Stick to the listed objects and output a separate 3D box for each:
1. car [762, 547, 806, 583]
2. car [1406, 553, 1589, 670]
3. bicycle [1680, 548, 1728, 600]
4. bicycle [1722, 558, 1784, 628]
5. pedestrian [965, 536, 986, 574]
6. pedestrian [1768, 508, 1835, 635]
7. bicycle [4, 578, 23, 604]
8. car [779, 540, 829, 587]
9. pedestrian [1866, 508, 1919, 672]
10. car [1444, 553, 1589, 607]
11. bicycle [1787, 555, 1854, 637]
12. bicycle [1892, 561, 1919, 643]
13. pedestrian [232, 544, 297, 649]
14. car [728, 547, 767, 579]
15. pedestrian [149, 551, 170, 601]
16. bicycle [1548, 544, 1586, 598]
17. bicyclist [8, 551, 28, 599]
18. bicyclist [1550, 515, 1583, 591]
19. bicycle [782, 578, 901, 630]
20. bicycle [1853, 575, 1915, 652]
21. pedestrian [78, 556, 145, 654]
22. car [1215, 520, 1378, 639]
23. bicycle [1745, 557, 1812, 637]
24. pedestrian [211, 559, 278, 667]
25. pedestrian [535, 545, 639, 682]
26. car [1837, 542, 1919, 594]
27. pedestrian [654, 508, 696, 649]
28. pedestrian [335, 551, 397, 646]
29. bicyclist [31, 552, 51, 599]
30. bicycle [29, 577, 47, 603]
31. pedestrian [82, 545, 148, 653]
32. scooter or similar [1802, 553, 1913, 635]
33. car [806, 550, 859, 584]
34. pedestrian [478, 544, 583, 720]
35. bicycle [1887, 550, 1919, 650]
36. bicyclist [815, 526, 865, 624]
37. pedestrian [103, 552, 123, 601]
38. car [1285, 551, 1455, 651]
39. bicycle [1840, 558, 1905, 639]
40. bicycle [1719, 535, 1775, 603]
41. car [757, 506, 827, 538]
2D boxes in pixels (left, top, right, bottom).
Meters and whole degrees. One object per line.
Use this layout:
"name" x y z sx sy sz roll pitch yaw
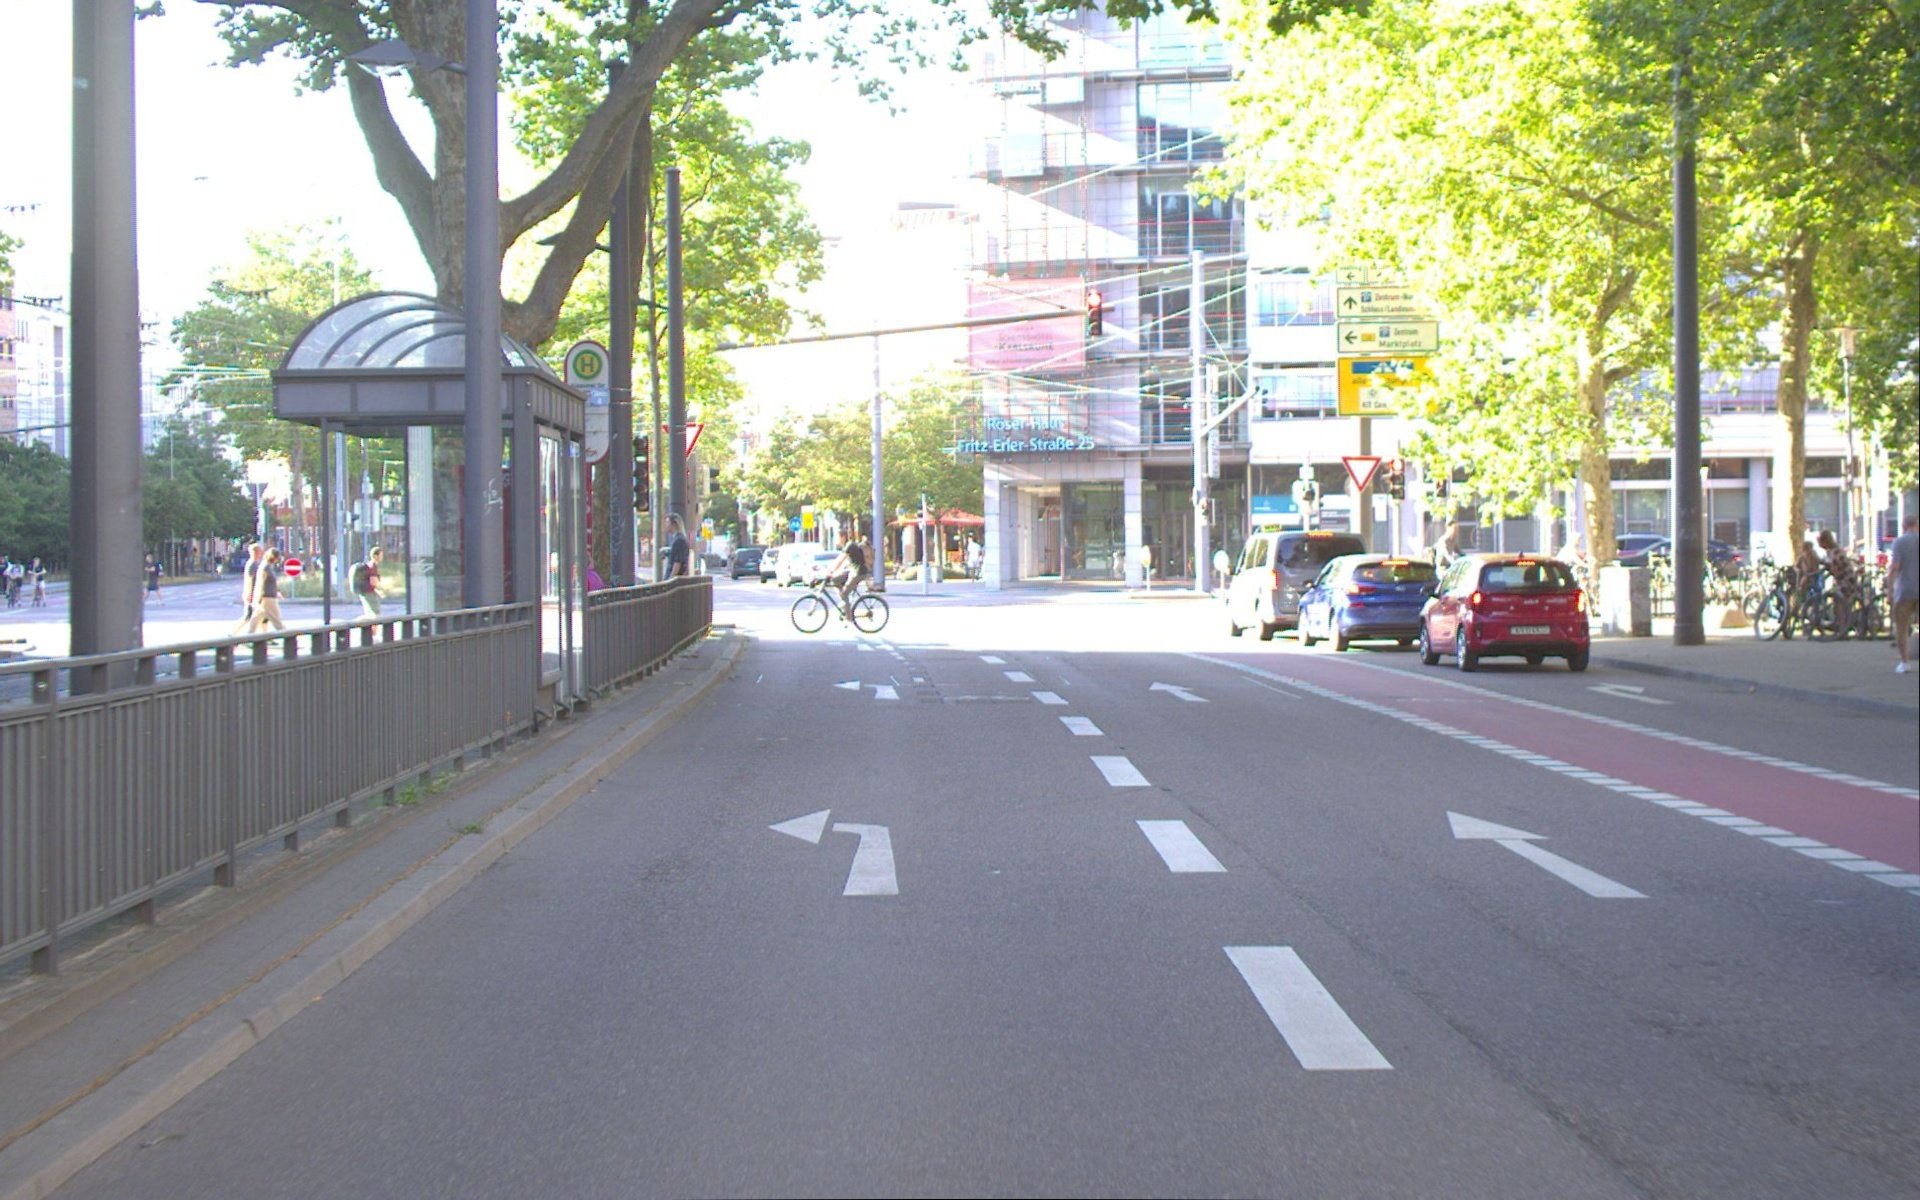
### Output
"car" -8.338 -1.651 162.719 1.993 1.656 4.001 -1 1 -4
"car" 6.945 0.122 44.704 1.558 1.459 3.622 0 1 -4
"bicycle" 14.189 -0.504 65.566 0.450 0.979 1.477 -1 1 -5
"bicycle" 12.220 -0.116 52.992 0.627 1.053 1.572 -1 1 2
"pedestrian" 0.613 -1.737 133.837 0.739 1.460 0.537 -1 1 -5
"pedestrian" 11.999 -0.409 49.005 0.807 1.780 0.657 -1 1 23
"bicycle" -33.440 -0.321 121.418 0.512 0.878 1.840 -1 1 -12
"car" -6.698 -1.571 147.269 1.993 1.985 4.001 -1 1 -4
"pedestrian" 10.560 -0.123 37.907 0.872 1.780 0.809 -1 1 -3
"car" 17.185 -0.629 106.355 4.241 1.596 1.795 -1 1 4
"bicycle" 12.201 -0.070 48.718 0.596 1.112 1.947 -1 1 24
"bicycle" 13.531 0.021 48.235 0.607 1.112 1.824 -1 1 24
"pedestrian" -12.054 -0.058 59.603 1.071 1.800 0.758 0 0 -11
"car" -11.390 -1.985 184.204 1.993 1.656 4.001 -1 1 -4
"pedestrian" -26.957 -0.811 115.776 0.536 1.644 0.626 -1 1 -23
"bicycle" 12.909 -0.624 73.133 0.566 1.122 1.778 -1 1 3
"bicyclist" -33.296 -0.880 121.530 0.593 1.670 0.790 -1 1 -10
"bicyclist" 12.903 -1.004 73.165 0.562 1.611 0.821 -1 1 3
"bicycle" -2.191 0.078 63.387 2.177 0.930 0.668 -1 1 -3
"bicycle" 14.334 0.202 53.345 0.420 1.155 1.477 -1 1 -5
"pedestrian" -14.587 0.083 59.147 1.072 1.676 0.758 0 0 -11
"car" 5.808 -0.377 59.979 1.993 1.959 5.138 1 1 -4
"bicycle" 11.778 -0.050 49.431 0.596 1.112 1.824 -1 1 24
"pedestrian" -12.602 0.231 60.580 1.145 1.887 0.833 0 0 -11
"pedestrian" -3.877 0.141 35.772 0.977 1.395 0.664 1 0 1
"car" 29.293 -0.994 105.591 4.241 1.555 1.795 -1 1 2
"pedestrian" -3.870 -0.291 46.711 0.509 1.894 0.760 1 0 -3
"pedestrian" -10.801 -0.028 62.503 1.073 1.709 0.628 0 0 -7
"bicyclist" -32.554 -0.869 121.832 0.593 1.670 0.790 -1 1 -10
"bicycle" -32.649 -0.358 121.773 0.512 0.878 1.840 -1 1 -12
"pedestrian" -14.721 -0.015 59.886 1.073 1.865 0.739 0 0 -11
"scooter or similar" 13.176 -0.085 50.504 1.252 1.138 0.916 2 -2 -17
"car" -5.216 -1.346 140.649 1.993 1.327 4.001 -1 1 -4
"pedestrian" -3.453 0.253 27.667 0.734 1.383 0.640 1 0 1
"bicycle" 12.465 -0.009 43.940 0.595 1.260 1.877 -1 1 -4
"bicyclist" -2.214 -0.458 63.369 0.849 1.779 0.753 -1 1 -4
"pedestrian" -28.421 -0.797 115.307 0.536 1.644 0.626 -1 1 -23
"car" 6.320 -0.015 53.387 1.764 1.459 4.218 -1 1 -5
"bicycle" 12.864 -0.030 48.455 0.596 1.112 1.824 -1 1 24
"bicycle" 15.049 -0.600 65.761 0.450 1.282 1.887 -1 1 -5
"car" -9.712 -4.516 198.835 3.763 1.744 1.781 1 0 11
